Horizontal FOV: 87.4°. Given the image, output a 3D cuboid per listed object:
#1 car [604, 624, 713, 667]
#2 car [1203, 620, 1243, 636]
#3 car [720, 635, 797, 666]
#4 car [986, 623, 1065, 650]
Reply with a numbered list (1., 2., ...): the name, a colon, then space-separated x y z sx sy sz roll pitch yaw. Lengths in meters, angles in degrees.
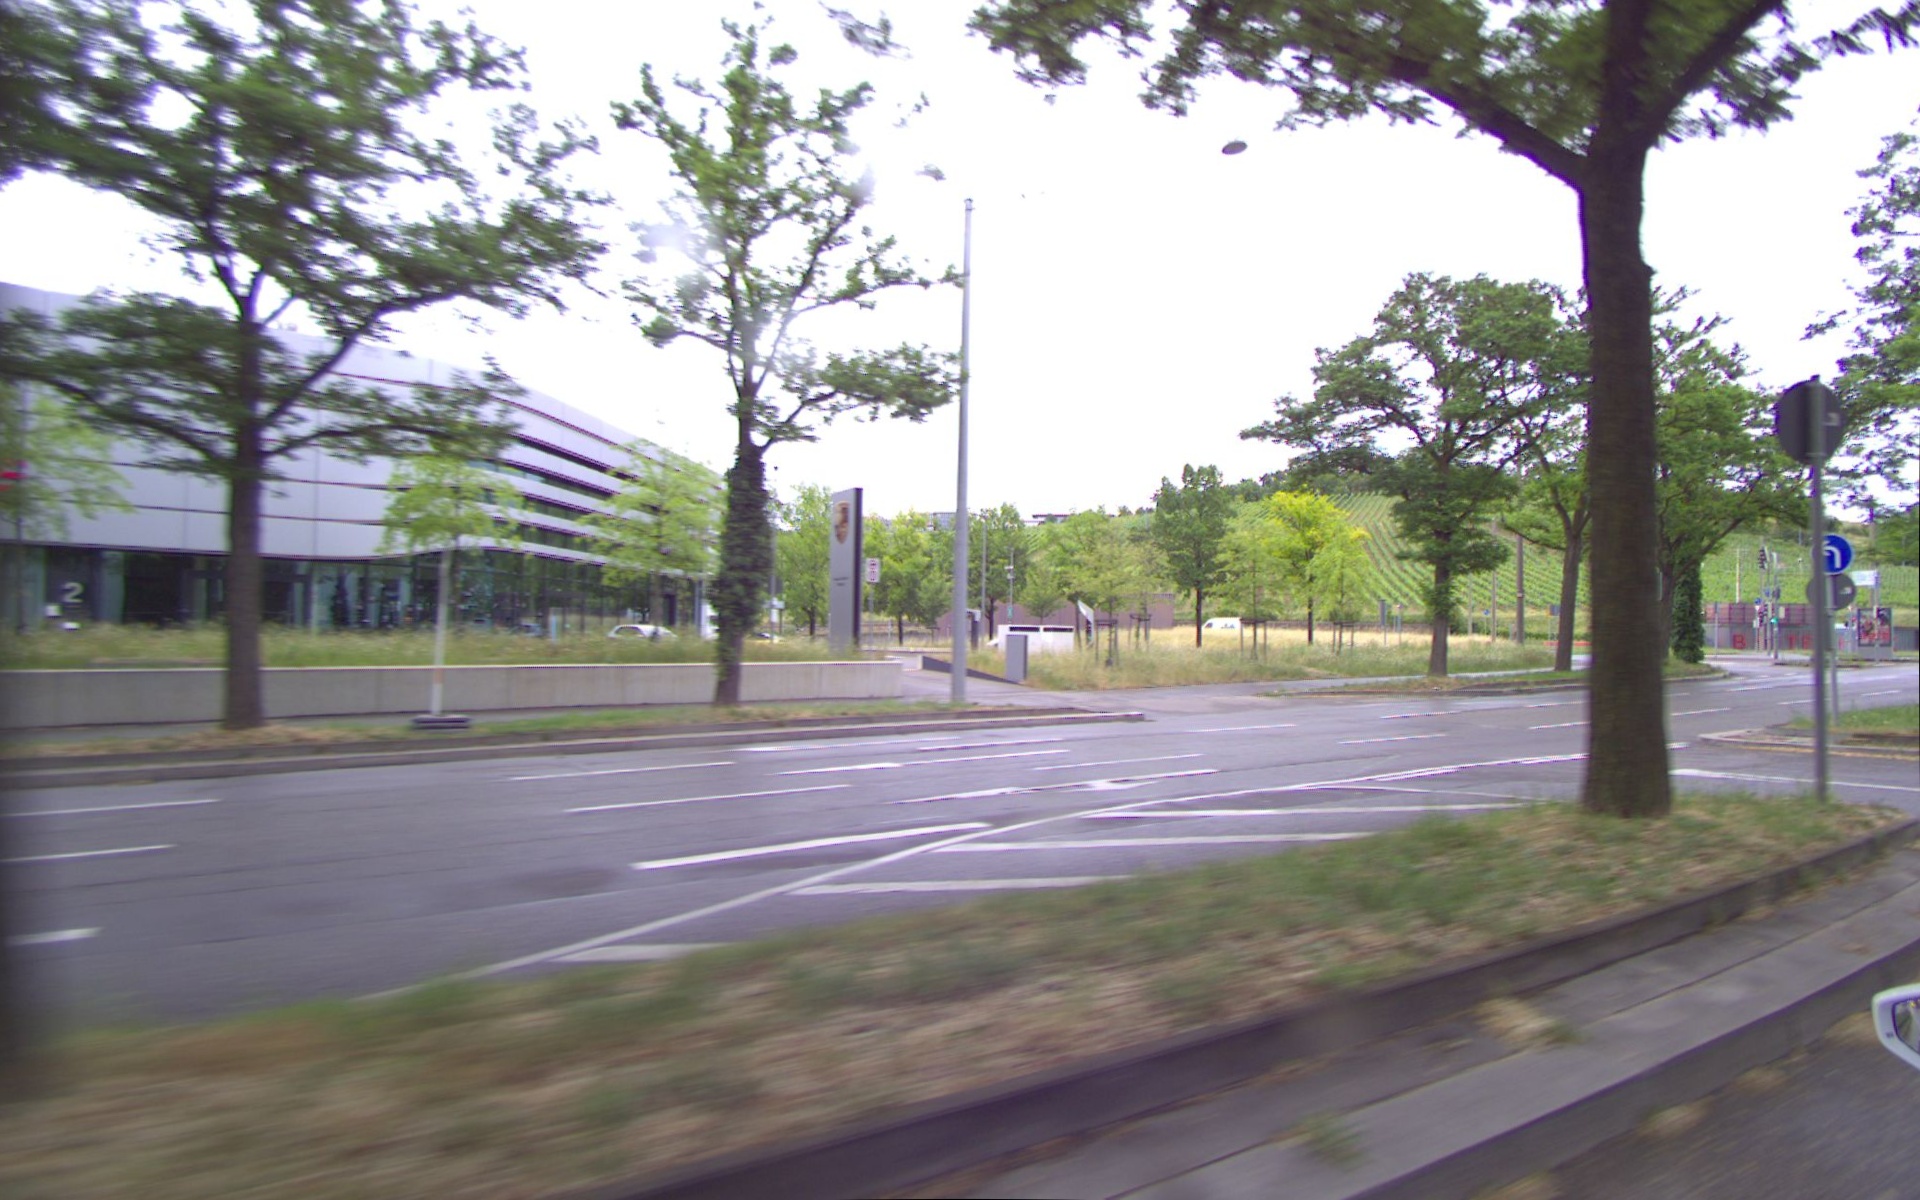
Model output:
1. car: -11.601 1.720 38.628 3.928 1.432 1.775 2 0 30
2. car: 31.328 3.353 119.682 4.560 1.710 2.220 2 0 14
3. car: -10.197 2.519 50.831 3.936 1.341 1.614 2 0 37
4. car: 3.443 1.902 52.978 3.927 1.261 1.618 2 0 -8
